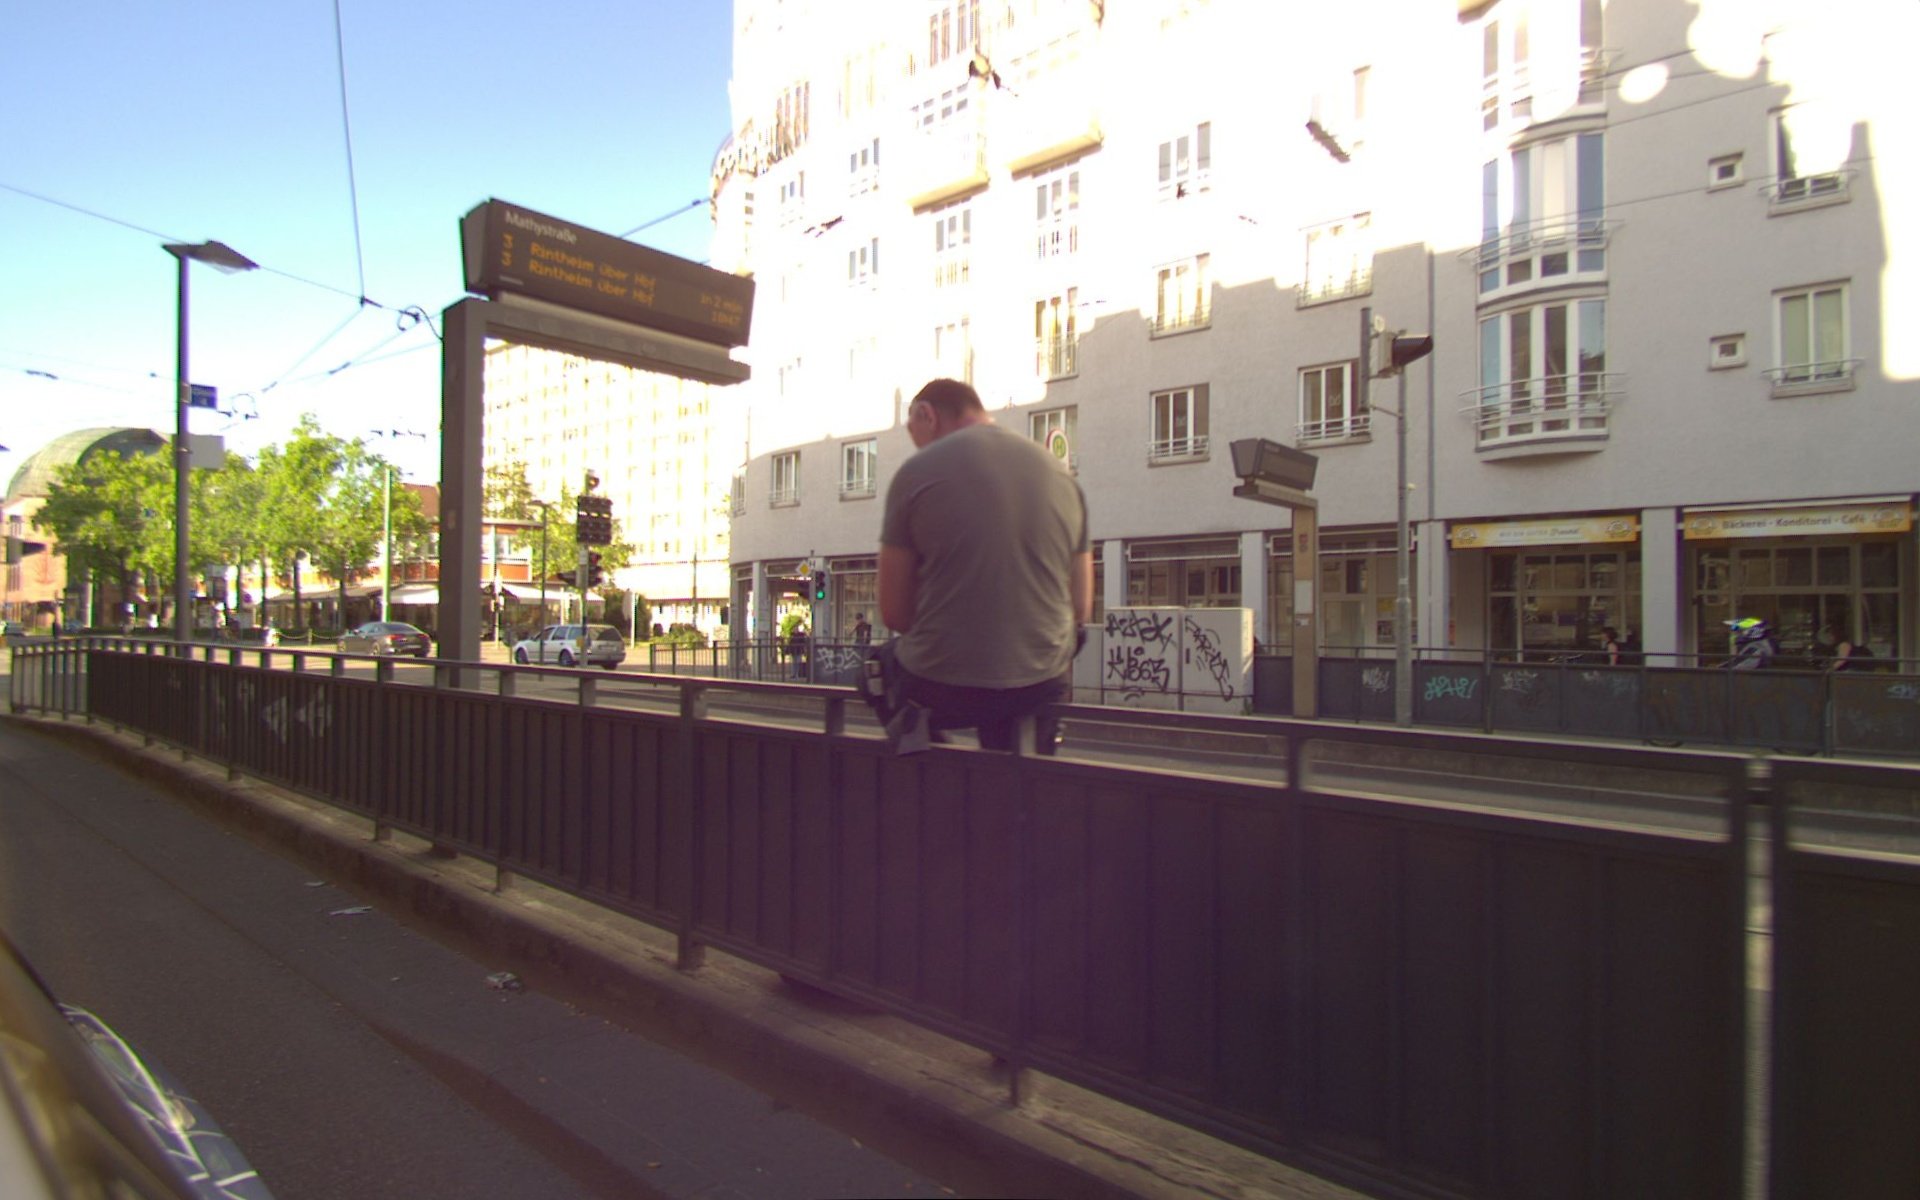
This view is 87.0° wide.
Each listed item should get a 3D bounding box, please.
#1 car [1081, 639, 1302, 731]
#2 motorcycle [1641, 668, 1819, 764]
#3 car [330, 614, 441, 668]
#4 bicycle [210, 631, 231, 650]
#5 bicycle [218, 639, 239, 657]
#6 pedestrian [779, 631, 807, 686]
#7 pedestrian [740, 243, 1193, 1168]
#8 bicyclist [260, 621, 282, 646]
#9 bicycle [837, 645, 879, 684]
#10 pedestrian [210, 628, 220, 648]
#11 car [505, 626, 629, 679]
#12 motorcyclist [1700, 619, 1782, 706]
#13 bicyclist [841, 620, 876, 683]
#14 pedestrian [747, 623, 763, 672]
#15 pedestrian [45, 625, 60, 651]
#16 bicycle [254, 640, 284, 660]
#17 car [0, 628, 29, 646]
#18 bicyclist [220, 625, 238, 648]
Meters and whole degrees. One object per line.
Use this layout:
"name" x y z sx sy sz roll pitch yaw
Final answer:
"car" 4.225 1.490 18.787 3.644 1.521 1.673 -2 -2 42
"motorcycle" 10.186 1.500 13.427 1.844 1.082 0.553 0 0 42
"car" -22.032 1.524 38.759 4.605 1.925 2.204 -1 -2 40
"bicycle" -45.861 2.500 62.735 2.233 1.195 0.492 -1 -2 39
"bicycle" -41.997 2.734 58.094 1.817 0.980 0.587 0 -2 41
"pedestrian" -4.766 1.659 28.878 0.675 1.546 0.442 -1 -2 4
"pedestrian" -0.016 0.191 2.431 0.629 1.710 0.934 0 0 -42
"bicyclist" -36.681 1.805 53.878 0.988 1.295 0.584 1 -1 31
"bicycle" -2.838 1.768 28.023 0.666 0.987 1.767 1 -1 -22
"pedestrian" -68.511 3.467 93.061 0.706 1.785 0.566 -1 -3 42
"car" -12.379 1.584 31.737 4.401 1.526 1.711 -1 -2 40
"motorcyclist" 10.276 0.804 13.320 0.827 1.082 0.553 0 0 42
"bicyclist" -2.816 1.411 28.010 0.711 1.708 1.032 1 -1 -21
"pedestrian" -7.887 1.812 38.956 0.455 1.847 0.745 -1 -2 3
"pedestrian" -55.753 2.329 62.195 0.858 1.529 0.494 -1 -4 41
"bicycle" -36.827 2.651 53.927 1.848 0.980 0.589 1 -1 31
"car" -83.220 3.224 88.531 4.645 1.462 1.974 -1 -2 39
"bicyclist" -41.950 2.104 58.085 0.926 1.295 0.582 0 -2 41
